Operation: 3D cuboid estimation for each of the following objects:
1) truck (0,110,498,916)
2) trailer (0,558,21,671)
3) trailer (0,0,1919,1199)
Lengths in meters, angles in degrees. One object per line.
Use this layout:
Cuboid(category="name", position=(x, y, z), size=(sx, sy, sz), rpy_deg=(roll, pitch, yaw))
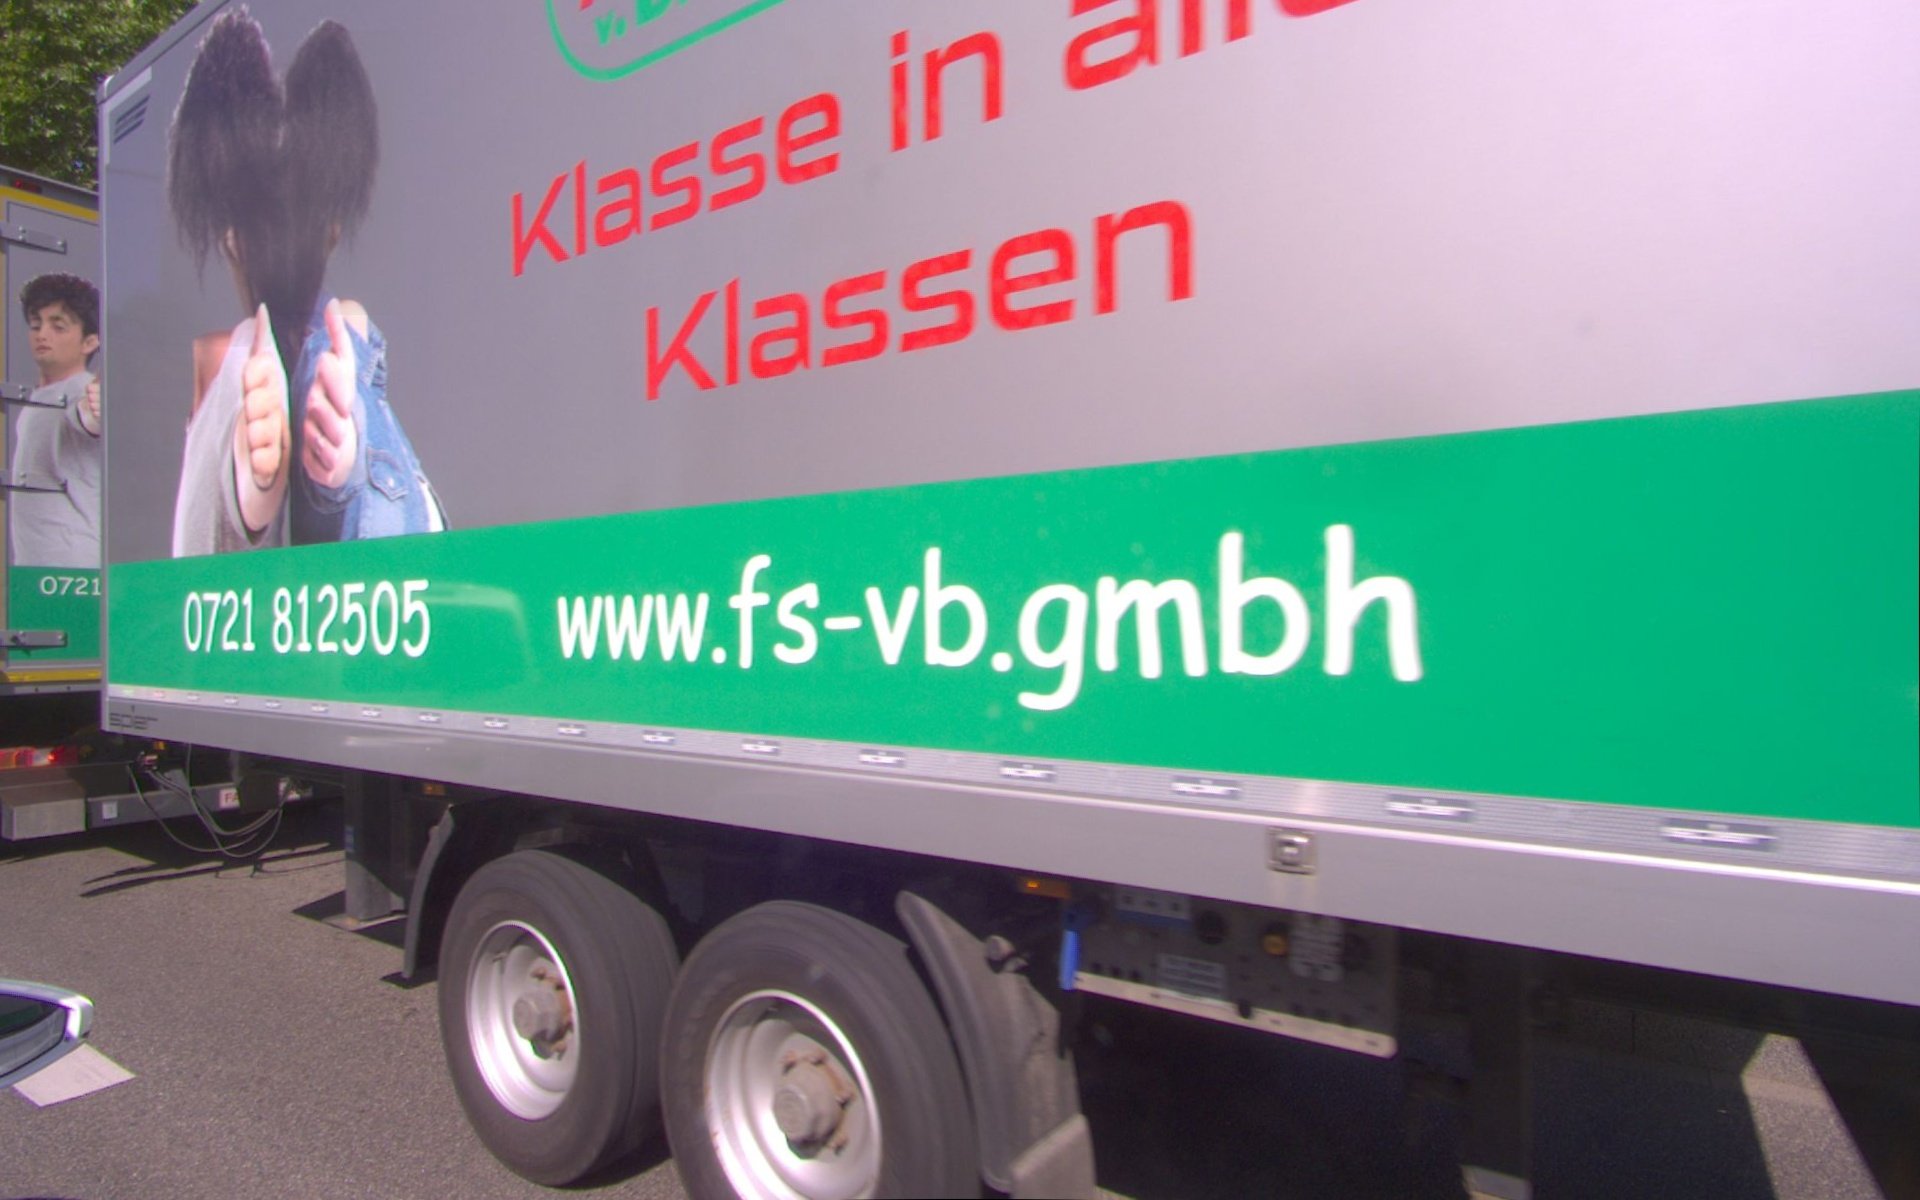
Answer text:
Cuboid(category="truck", position=(-7.546, -0.327, 8.350), size=(8.606, 3.940, 2.722), rpy_deg=(-2, -1, 35))
Cuboid(category="trailer", position=(-30.414, 0.302, 27.495), size=(2.864, 3.668, 12.643), rpy_deg=(0, -2, -25))
Cuboid(category="trailer", position=(-0.876, -0.519, 3.719), size=(7.630, 3.927, 2.729), rpy_deg=(-1, 0, 34))
